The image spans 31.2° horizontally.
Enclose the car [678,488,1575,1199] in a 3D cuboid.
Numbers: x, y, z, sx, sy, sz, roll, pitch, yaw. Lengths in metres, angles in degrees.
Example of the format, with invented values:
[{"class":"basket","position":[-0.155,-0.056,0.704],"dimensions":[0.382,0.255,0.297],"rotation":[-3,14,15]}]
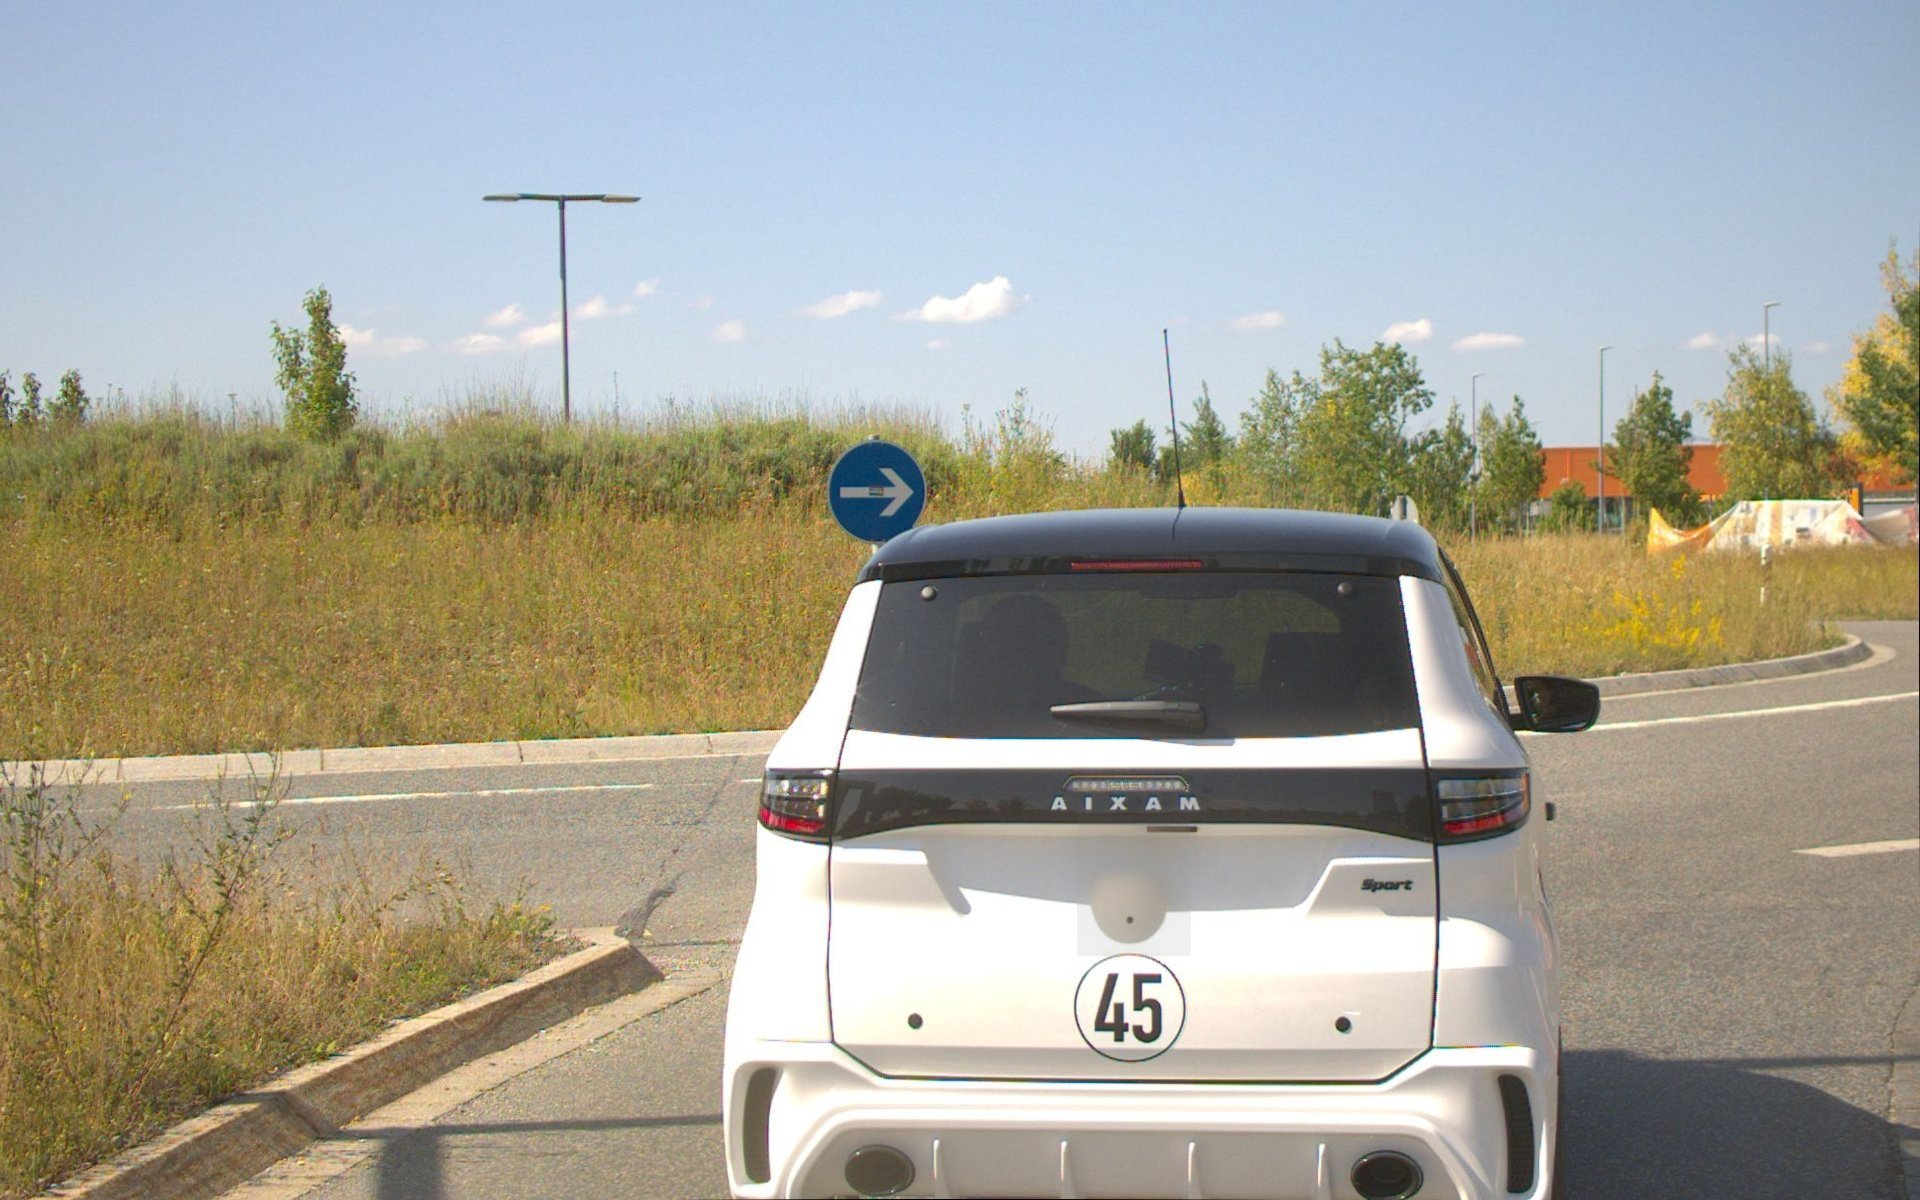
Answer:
[{"class":"car","position":[0.537,0.517,7.455],"dimensions":[1.510,1.435,3.350],"rotation":[0,3,9]}]
